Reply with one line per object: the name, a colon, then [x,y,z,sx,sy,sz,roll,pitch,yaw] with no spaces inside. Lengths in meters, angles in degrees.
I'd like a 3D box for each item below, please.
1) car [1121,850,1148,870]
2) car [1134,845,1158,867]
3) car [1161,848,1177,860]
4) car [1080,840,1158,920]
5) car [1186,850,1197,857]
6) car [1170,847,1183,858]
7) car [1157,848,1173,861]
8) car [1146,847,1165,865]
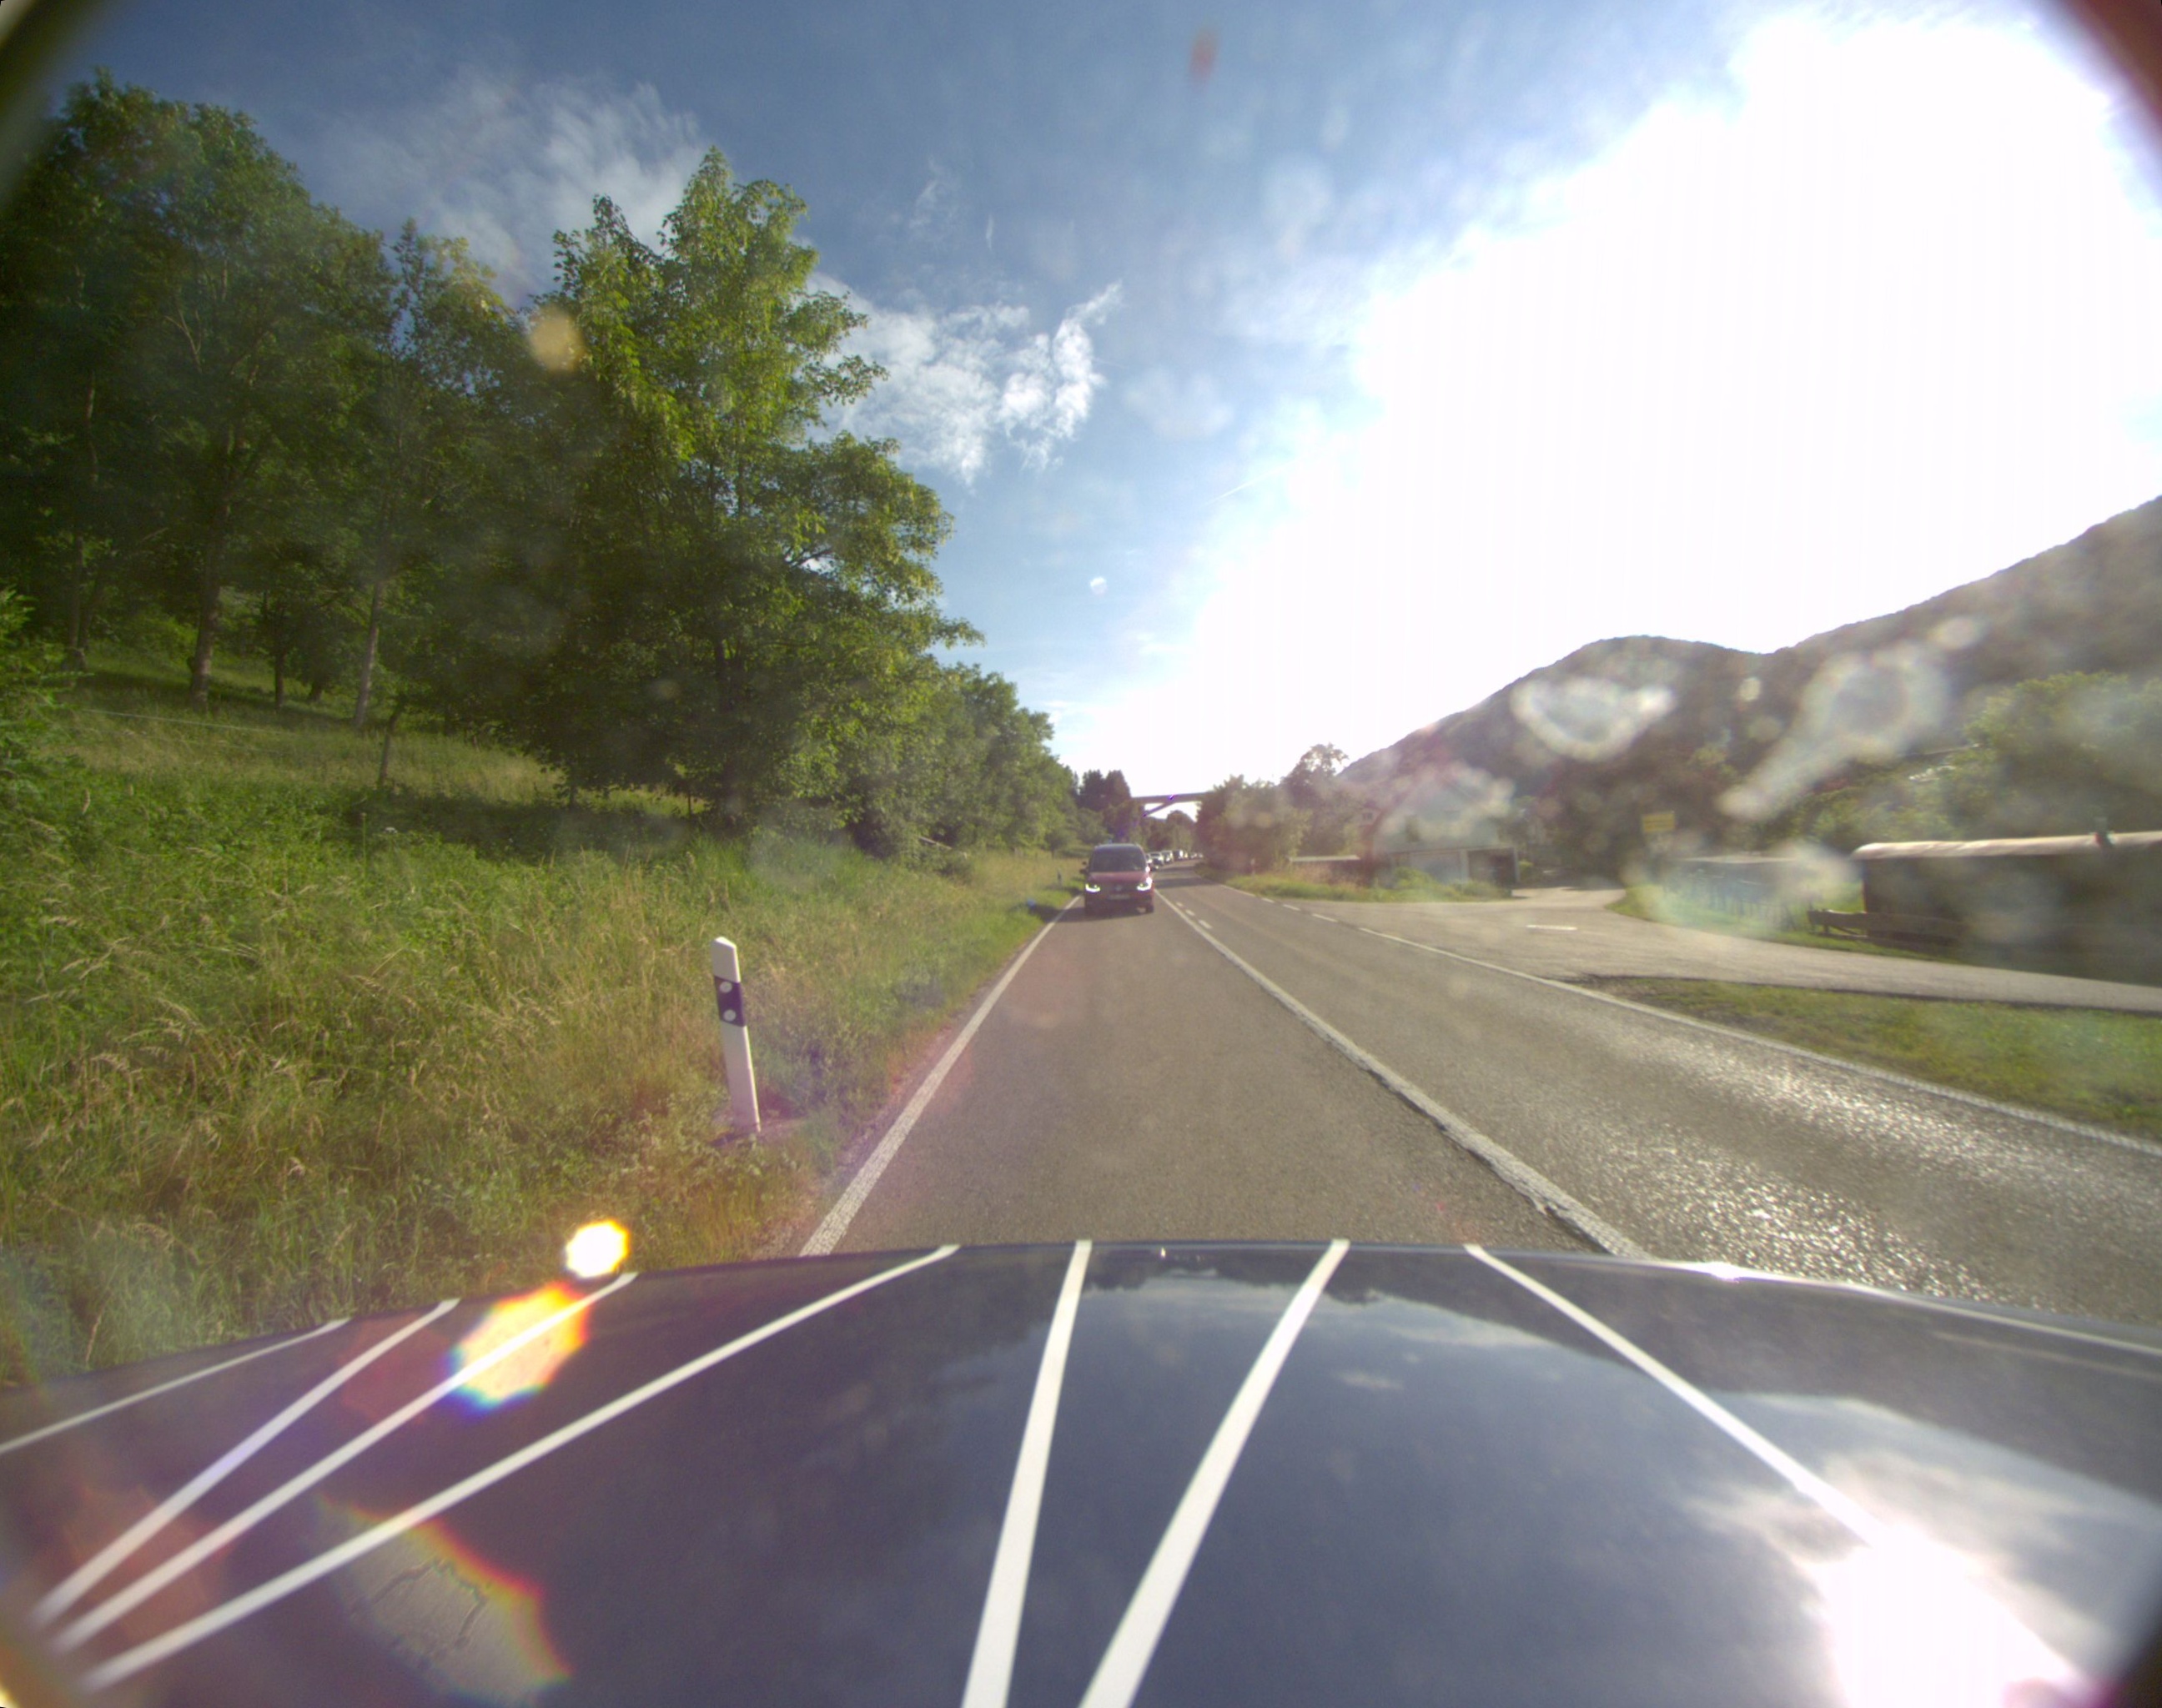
car: [4.444,0.445,62.668,1.840,1.543,4.180,-1,0,9]
car: [6.311,0.131,73.085,1.913,2.002,4.003,-1,0,10]
car: [12.398,-0.070,106.804,1.817,1.608,4.003,-1,1,12]
car: [0.984,0.612,20.305,1.772,1.855,3.875,-3,0,2]
car: [24.573,-0.152,168.840,1.840,1.543,4.182,-1,0,14]
car: [15.228,-0.239,121.278,1.817,1.608,4.003,-1,0,11]
car: [10.881,0.029,97.712,1.840,1.543,4.180,0,0,9]
car: [8.326,0.195,84.972,1.913,2.002,4.002,-1,0,9]
